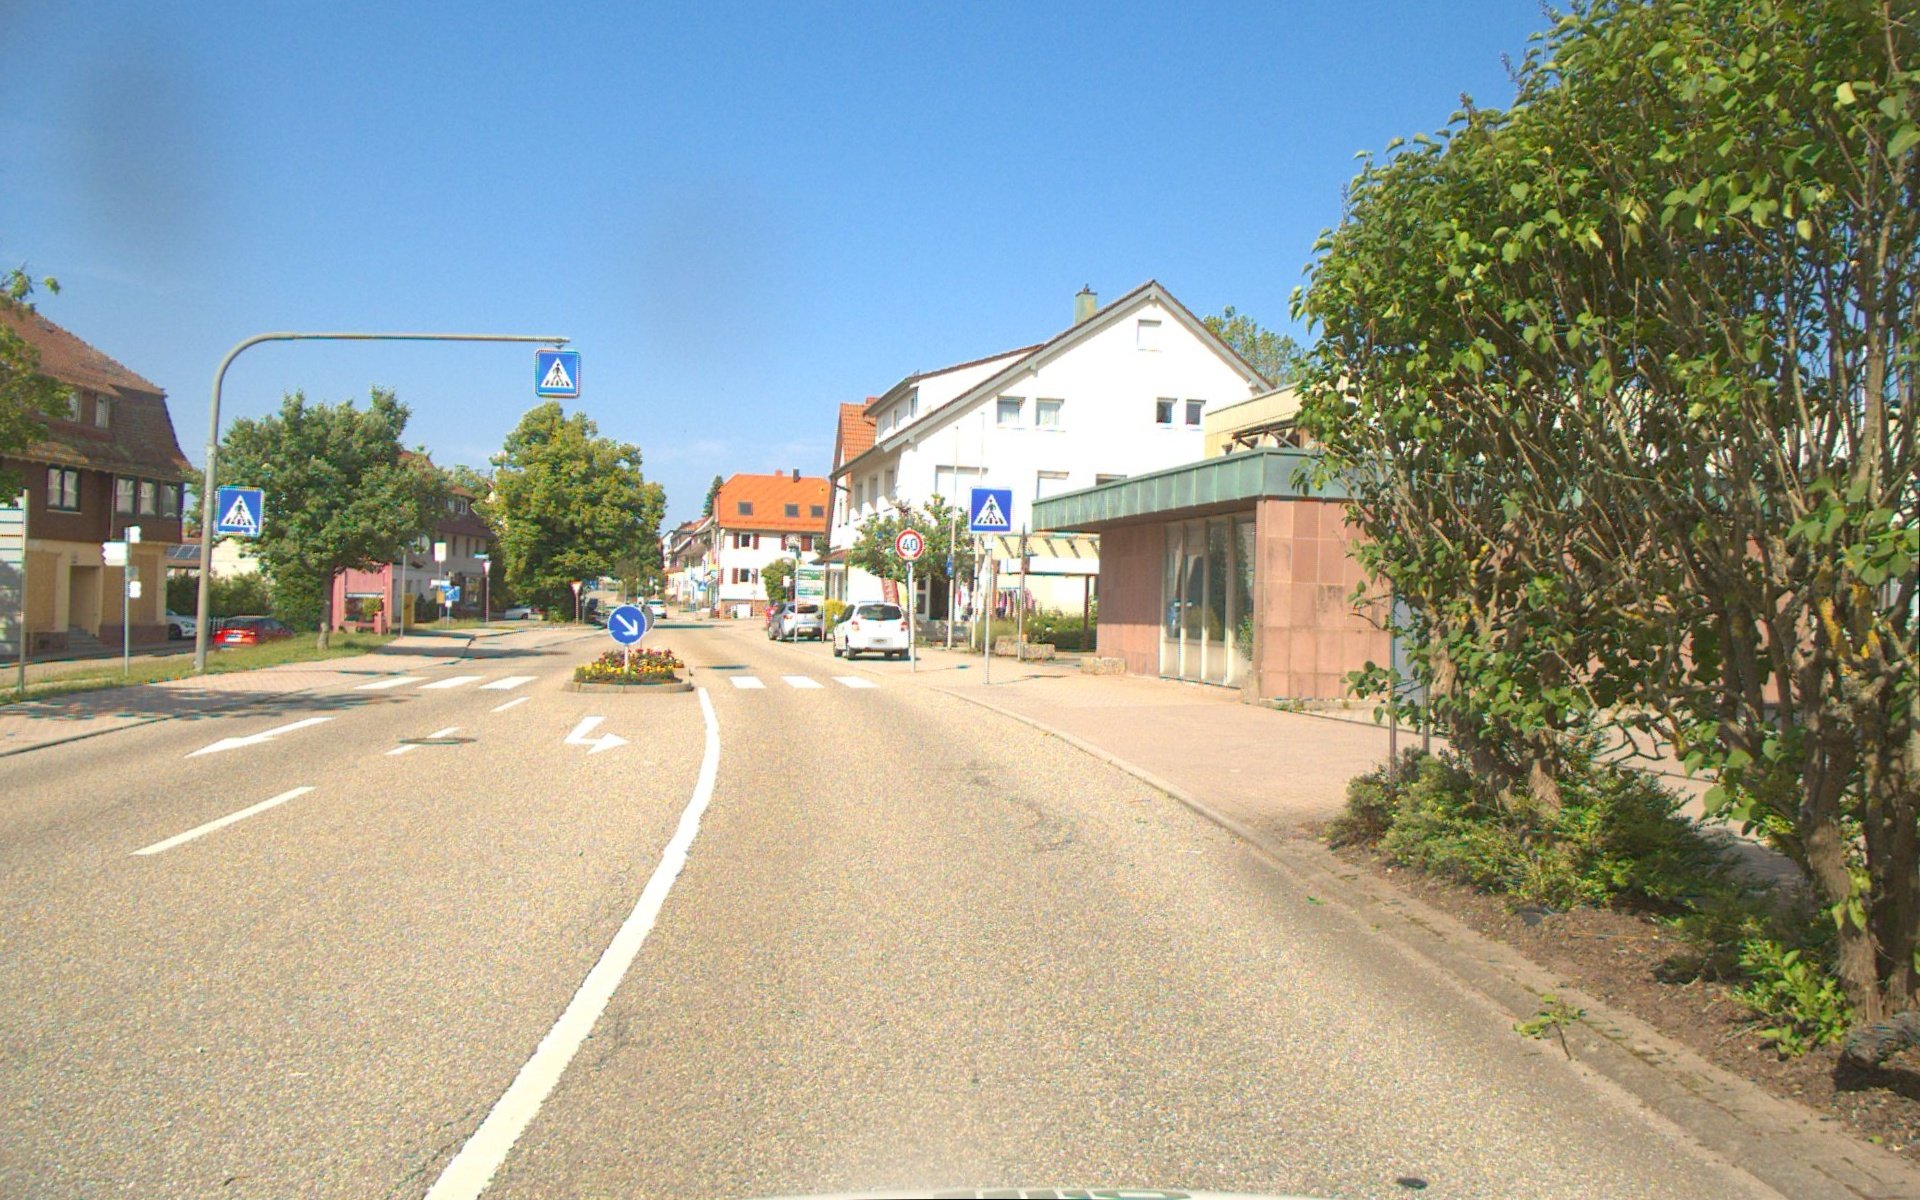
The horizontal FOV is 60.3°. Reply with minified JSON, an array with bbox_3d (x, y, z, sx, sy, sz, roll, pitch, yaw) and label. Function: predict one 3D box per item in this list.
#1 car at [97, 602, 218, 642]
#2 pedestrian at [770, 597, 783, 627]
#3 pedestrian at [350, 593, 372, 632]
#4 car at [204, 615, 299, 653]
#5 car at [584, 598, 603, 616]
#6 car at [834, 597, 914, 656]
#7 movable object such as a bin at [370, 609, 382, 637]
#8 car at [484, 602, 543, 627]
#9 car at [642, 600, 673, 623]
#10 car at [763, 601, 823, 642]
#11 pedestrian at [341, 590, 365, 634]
[{"bbox_3d":[-34.212,0.953,70.601,4.215,1.538,1.799,2,-2,-2],"label":"car"},{"bbox_3d":[-11.208,0.713,100.862,0.784,1.815,0.978,0,0,-7],"label":"pedestrian"},{"bbox_3d":[-19.597,0.404,54.093,0.618,1.275,0.422,-1,0,-14],"label":"pedestrian"},{"bbox_3d":[-26.797,1.280,62.709,1.685,1.320,4.002,-1,0,3],"label":"car"},{"bbox_3d":[-36.214,0.690,163.466,1.643,1.560,3.525,5,-1,-12],"label":"car"},{"bbox_3d":[-2.299,0.660,43.466,1.728,1.448,3.626,-1,0,-9],"label":"car"},{"bbox_3d":[-18.205,0.707,51.529,0.299,0.852,0.483,0,-1,-14],"label":"movable object such as a bin"},{"bbox_3d":[-31.759,1.025,117.626,3.682,1.480,1.817,-2,-5,0],"label":"car"},{"bbox_3d":[-28.414,1.040,155.506,2.455,2.049,4.286,-2,0,-16],"label":"car"},{"bbox_3d":[-6.223,0.765,61.441,1.608,1.444,3.919,-1,0,-15],"label":"car"},{"bbox_3d":[-19.617,0.368,53.444,0.607,1.388,0.672,-1,1,-13],"label":"pedestrian"}]
